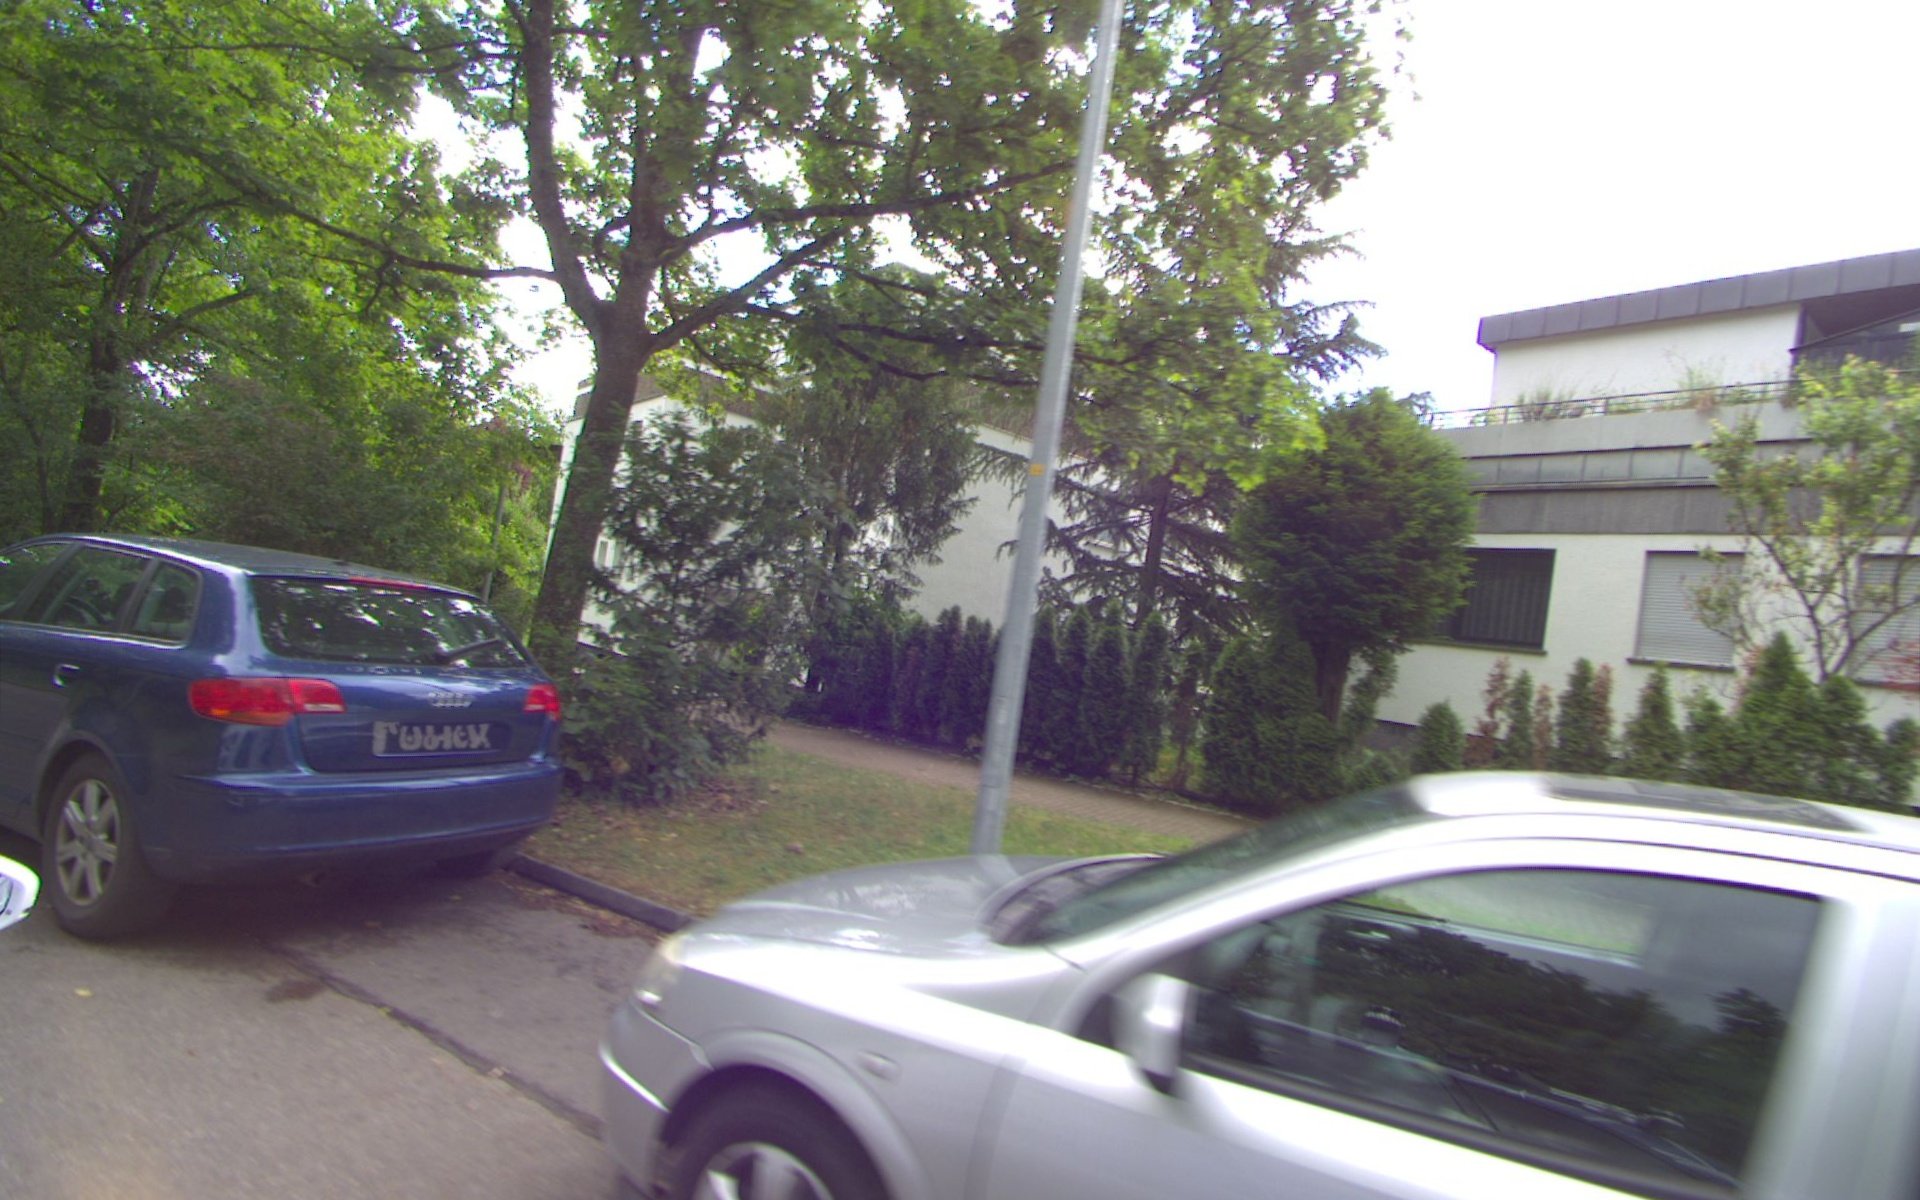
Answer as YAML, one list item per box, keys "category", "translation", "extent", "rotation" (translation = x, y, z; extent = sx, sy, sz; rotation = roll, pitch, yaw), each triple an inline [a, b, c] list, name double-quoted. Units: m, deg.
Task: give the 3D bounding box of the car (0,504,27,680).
- category: "car"
  translation: [-10.115, -0.353, 8.666]
  extent: [3.849, 1.469, 1.726]
  rotation: [7, -2, 27]

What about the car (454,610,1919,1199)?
- category: "car"
  translation: [1.140, 1.077, 2.064]
  extent: [4.171, 1.452, 1.818]
  rotation: [7, -3, 31]

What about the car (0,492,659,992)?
- category: "car"
  translation: [-3.907, 0.358, 5.019]
  extent: [4.400, 1.491, 1.853]
  rotation: [7, -2, 27]
